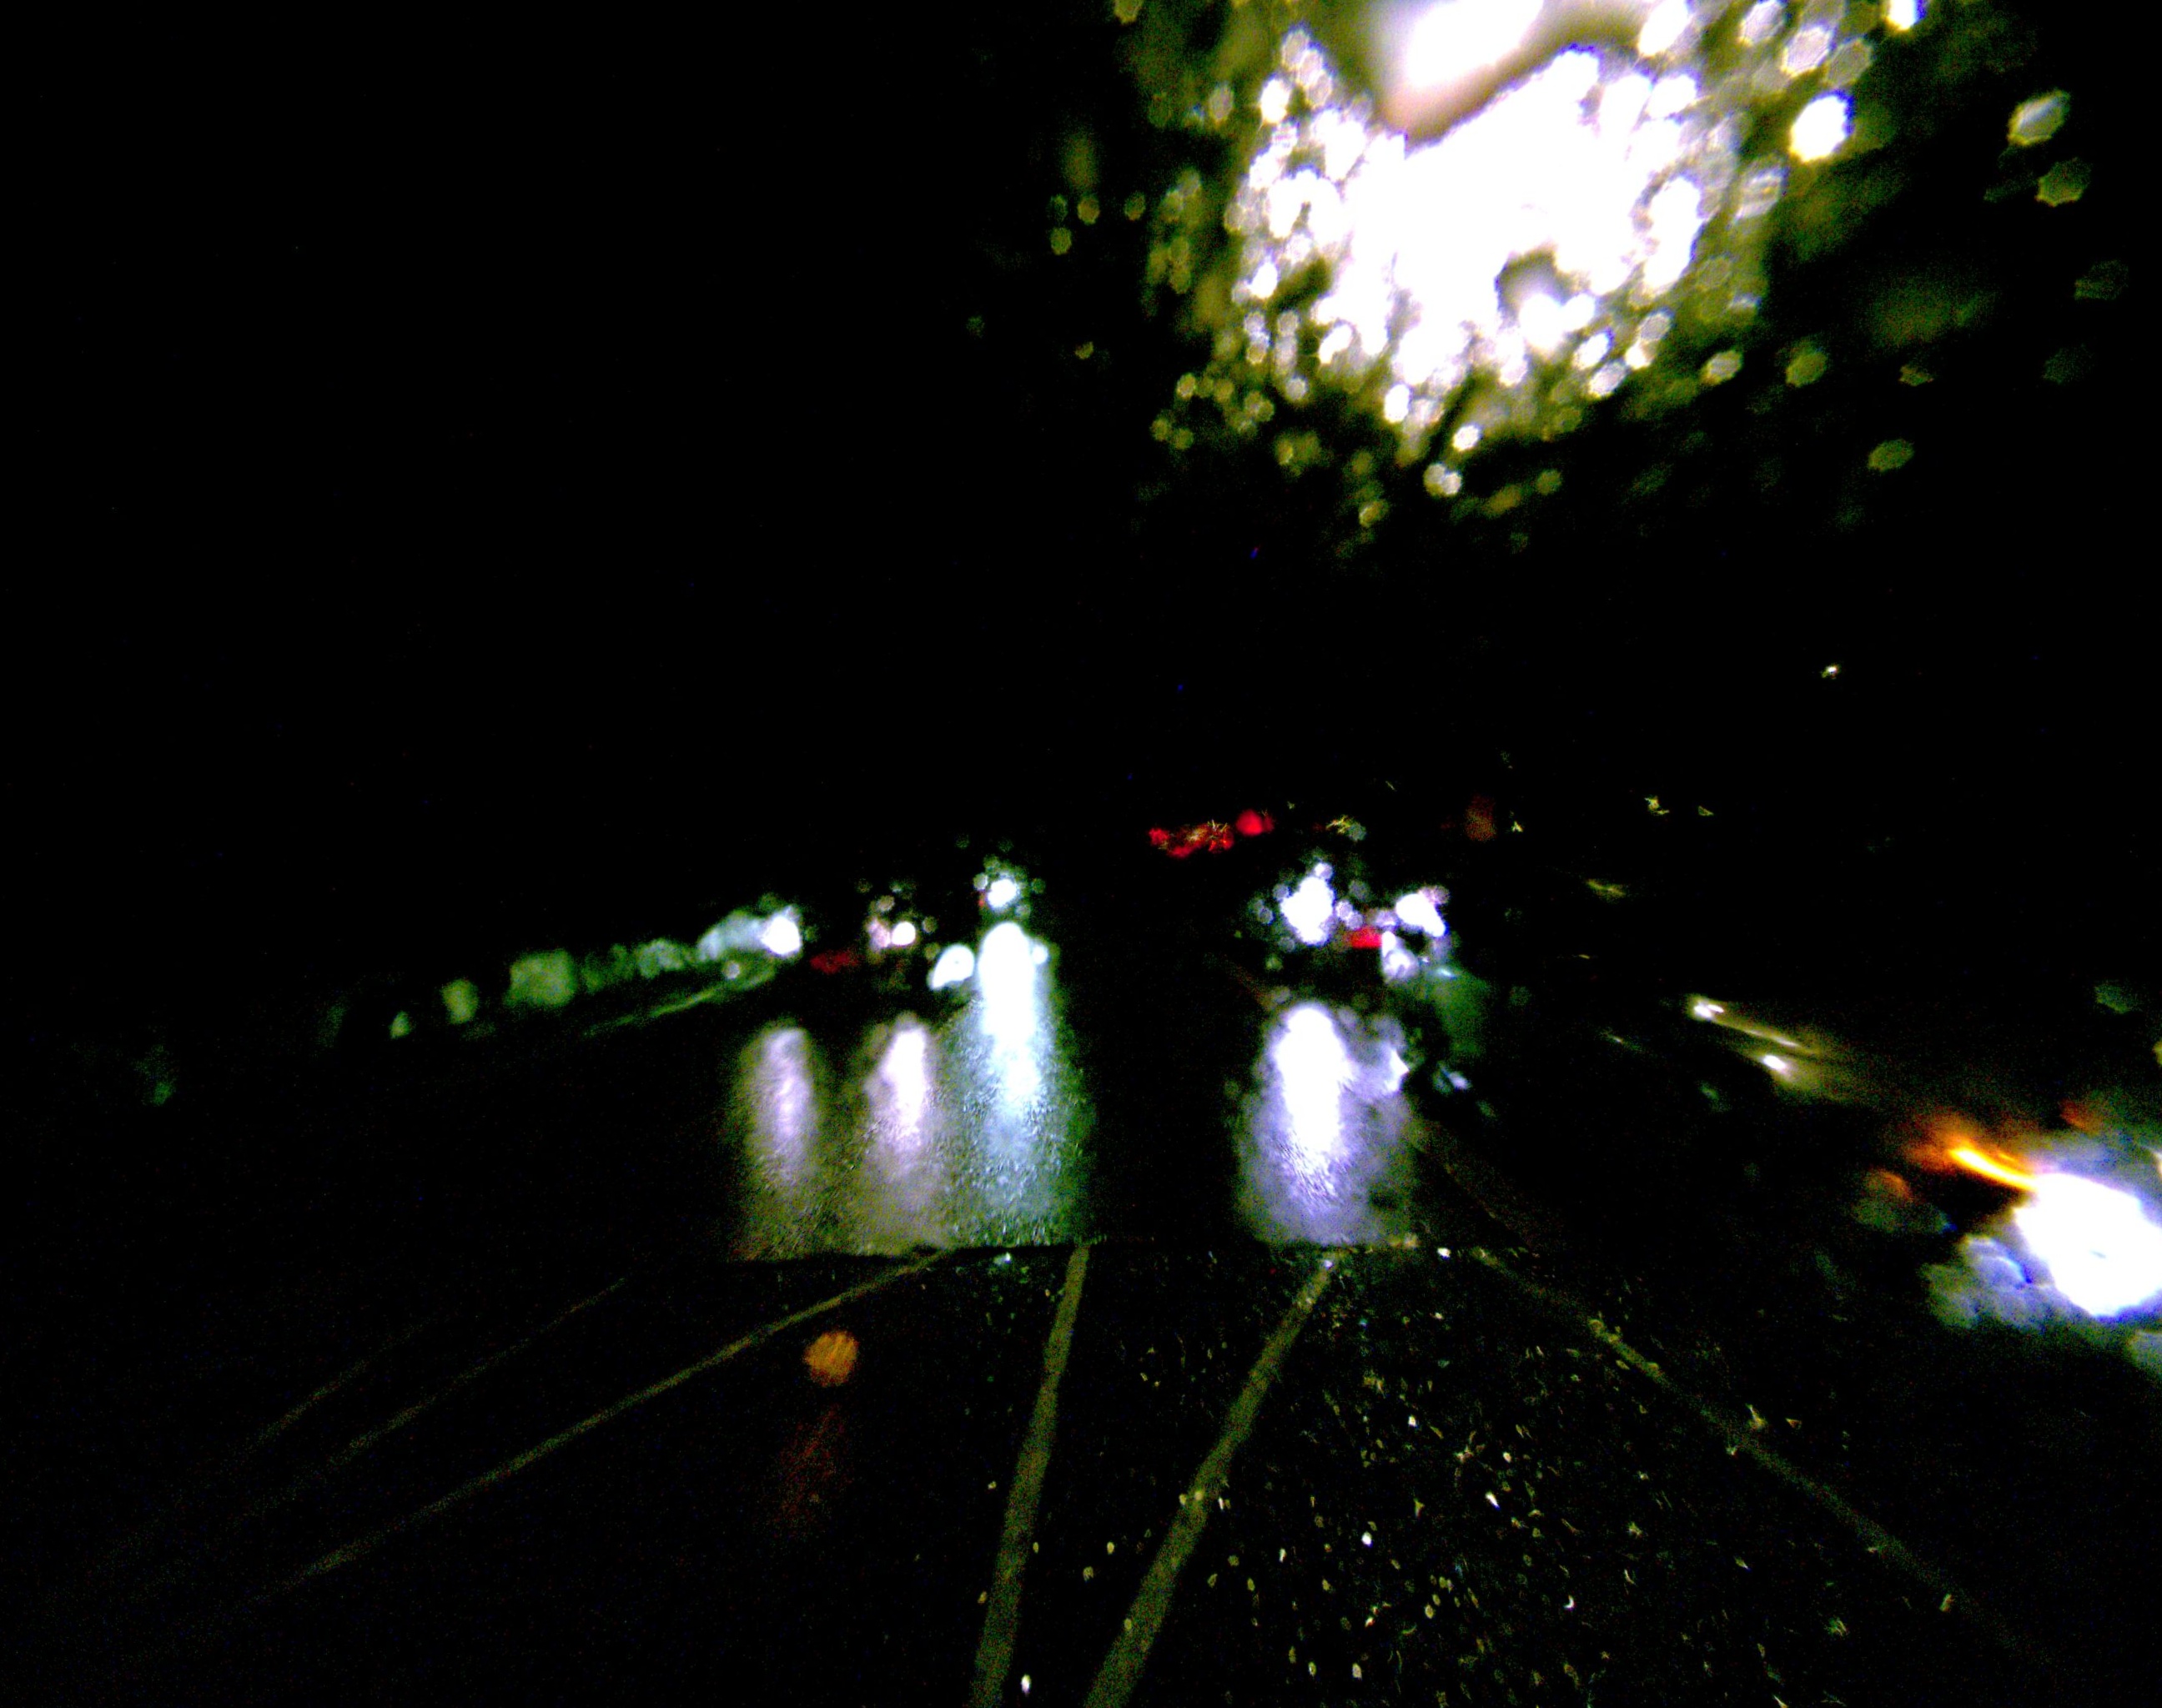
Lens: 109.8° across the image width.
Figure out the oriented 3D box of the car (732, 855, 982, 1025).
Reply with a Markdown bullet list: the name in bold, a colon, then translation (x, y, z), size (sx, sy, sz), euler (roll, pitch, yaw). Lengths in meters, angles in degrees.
- **car**: translation (-2.612, 0.900, 10.014), size (1.790, 1.684, 4.219), euler (-2, 0, 3)

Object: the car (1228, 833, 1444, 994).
- **car**: translation (3.305, 0.660, 10.787), size (1.788, 1.772, 4.437), euler (-2, 0, 4)

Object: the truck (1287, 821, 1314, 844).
- **truck**: translation (49.315, -4.786, 171.003), size (3.446, 4.584, 10.213), euler (-6, 1, 5)

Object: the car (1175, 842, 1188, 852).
- **car**: translation (18.011, -1.246, 135.710), size (1.765, 1.632, 4.652), euler (-3, 1, 2)

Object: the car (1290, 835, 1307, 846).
- **car**: translation (37.907, -2.320, 132.552), size (1.790, 1.684, 4.219), euler (-4, 0, 4)

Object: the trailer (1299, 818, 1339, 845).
- **trailer**: translation (48.030, -4.560, 153.917), size (3.980, 4.984, 14.836), euler (-6, 1, 5)

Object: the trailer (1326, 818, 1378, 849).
- **trailer**: translation (45.382, -3.473, 127.962), size (3.980, 4.584, 15.516), euler (-6, 1, 5)

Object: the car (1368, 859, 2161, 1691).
- **car**: translation (2.996, 0.815, 3.459), size (1.788, 1.502, 4.436), euler (-1, 0, 1)

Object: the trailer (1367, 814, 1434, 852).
- **trailer**: translation (44.266, -2.960, 105.965), size (3.980, 4.584, 14.248), euler (-6, 1, 5)

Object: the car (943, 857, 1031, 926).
- **car**: translation (-2.534, 0.956, 21.507), size (1.788, 1.638, 4.436), euler (-3, 0, 1)

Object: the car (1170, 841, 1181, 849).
- **car**: translation (19.487, -1.818, 156.514), size (1.806, 1.579, 4.031), euler (-3, 1, 3)
